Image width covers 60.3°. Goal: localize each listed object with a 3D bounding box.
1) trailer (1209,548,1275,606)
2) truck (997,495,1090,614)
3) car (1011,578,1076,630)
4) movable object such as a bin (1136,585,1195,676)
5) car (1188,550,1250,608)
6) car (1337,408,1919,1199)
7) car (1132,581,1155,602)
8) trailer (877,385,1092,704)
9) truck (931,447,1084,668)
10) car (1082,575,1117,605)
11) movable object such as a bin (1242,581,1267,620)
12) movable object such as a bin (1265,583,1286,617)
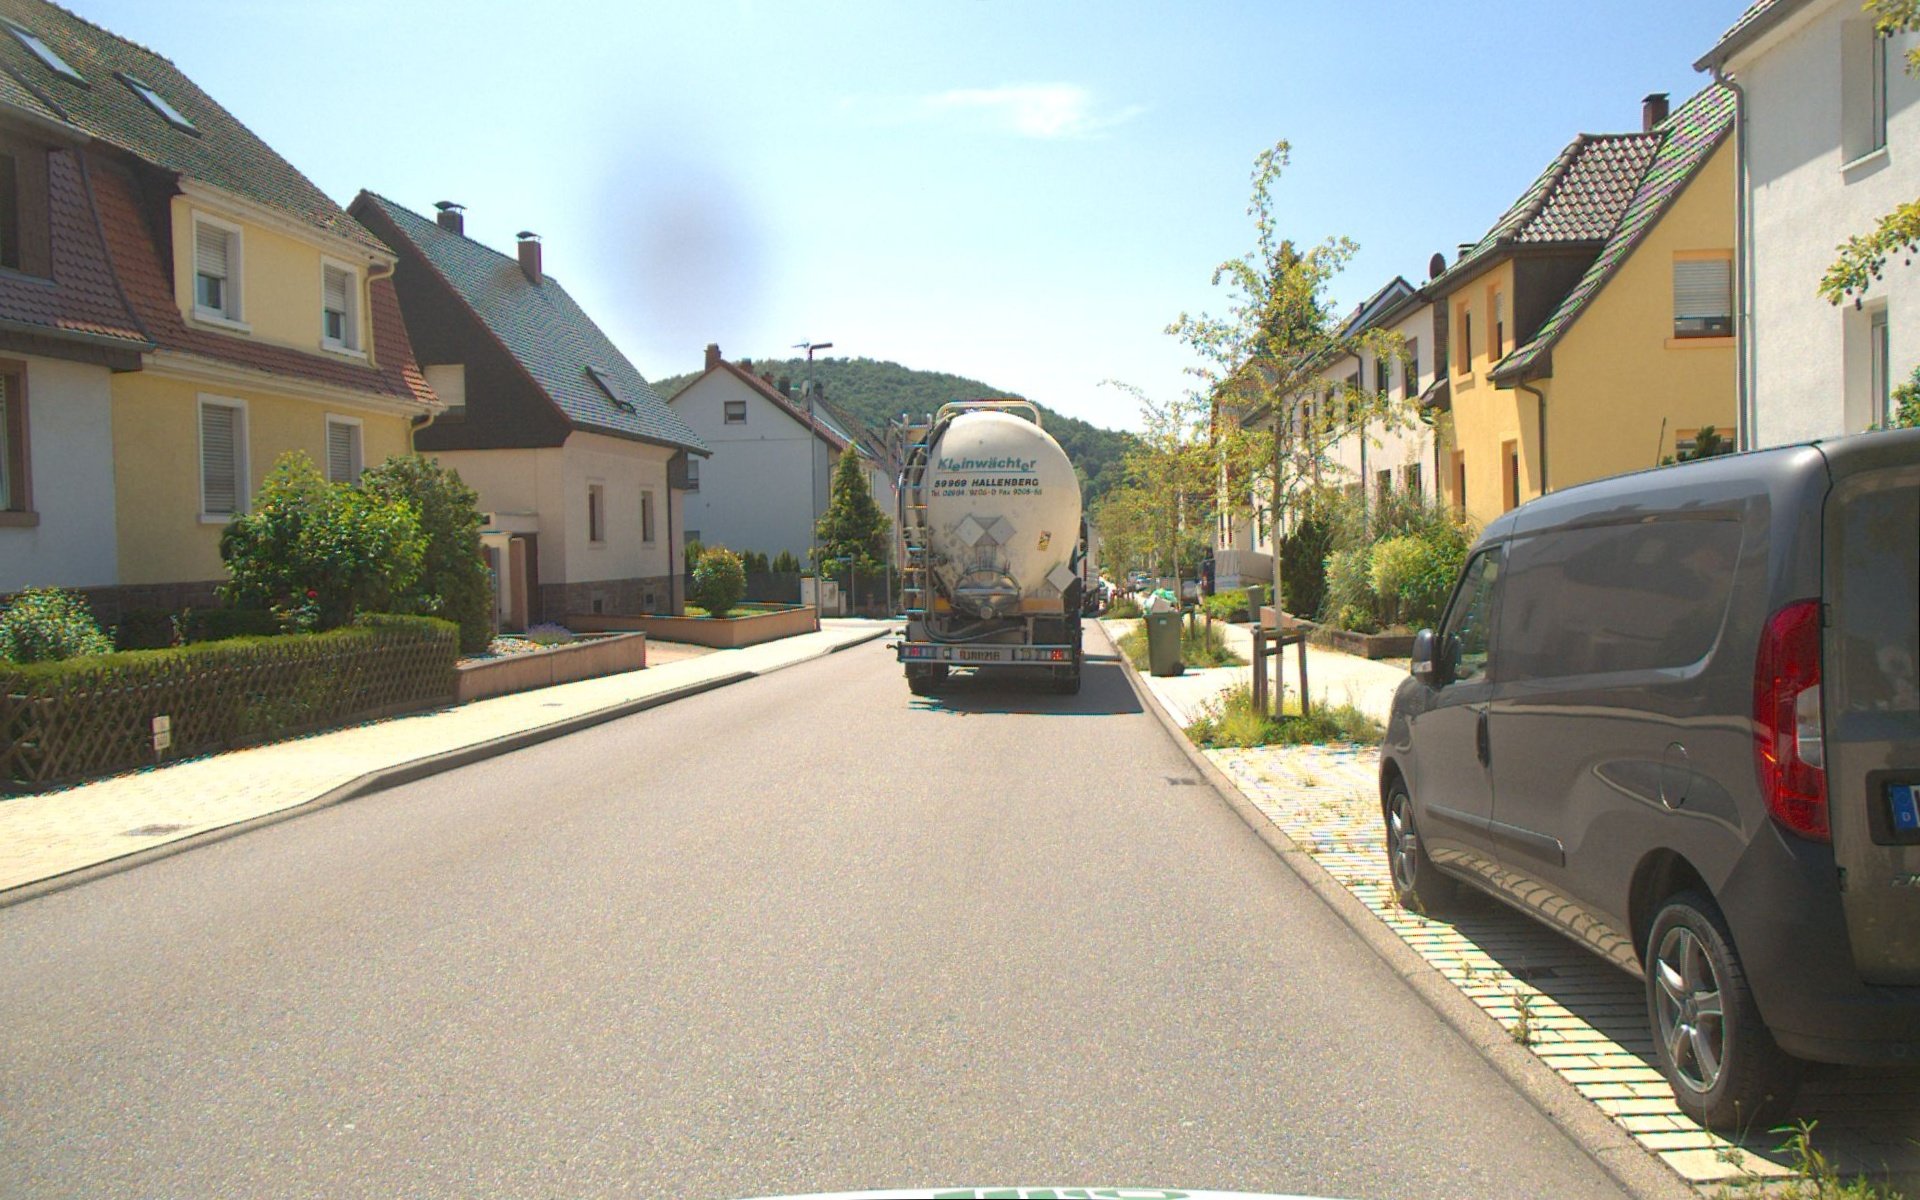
[{"bbox_3d":[10.305,-0.840,60.328,2.256,2.049,1.303,-1,1,-44],"label":"trailer"},{"bbox_3d":[3.761,-2.008,76.205,3.829,4.981,9.799,-2,1,2],"label":"truck"},{"bbox_3d":[2.786,0.105,54.236,1.868,1.581,4.003,-2,1,6],"label":"car"},{"bbox_3d":[3.393,0.488,27.337,0.776,1.419,0.925,-5,0,1],"label":"movable object such as a bin"},{"bbox_3d":[10.154,-0.811,65.185,1.814,2.004,4.776,-6,0,4],"label":"car"},{"bbox_3d":[2.873,0.428,6.281,1.817,1.874,4.671,-2,1,1],"label":"car"},{"bbox_3d":[14.822,-0.692,133.622,1.753,1.568,4.522,-1,0,5],"label":"car"},{"bbox_3d":[0.653,-0.803,26.361,2.737,4.070,10.330,0,1,4],"label":"trailer"},{"bbox_3d":[1.037,-0.829,33.085,2.749,4.005,6.102,0,1,3],"label":"truck"},{"bbox_3d":[8.991,-0.662,106.818,1.952,1.853,4.001,-2,0,2],"label":"car"},{"bbox_3d":[9.084,0.005,51.092,0.669,1.134,0.813,-5,0,9],"label":"movable object such as a bin"},{"bbox_3d":[9.769,-0.007,51.172,0.546,1.003,0.803,-5,0,10],"label":"movable object such as a bin"}]
